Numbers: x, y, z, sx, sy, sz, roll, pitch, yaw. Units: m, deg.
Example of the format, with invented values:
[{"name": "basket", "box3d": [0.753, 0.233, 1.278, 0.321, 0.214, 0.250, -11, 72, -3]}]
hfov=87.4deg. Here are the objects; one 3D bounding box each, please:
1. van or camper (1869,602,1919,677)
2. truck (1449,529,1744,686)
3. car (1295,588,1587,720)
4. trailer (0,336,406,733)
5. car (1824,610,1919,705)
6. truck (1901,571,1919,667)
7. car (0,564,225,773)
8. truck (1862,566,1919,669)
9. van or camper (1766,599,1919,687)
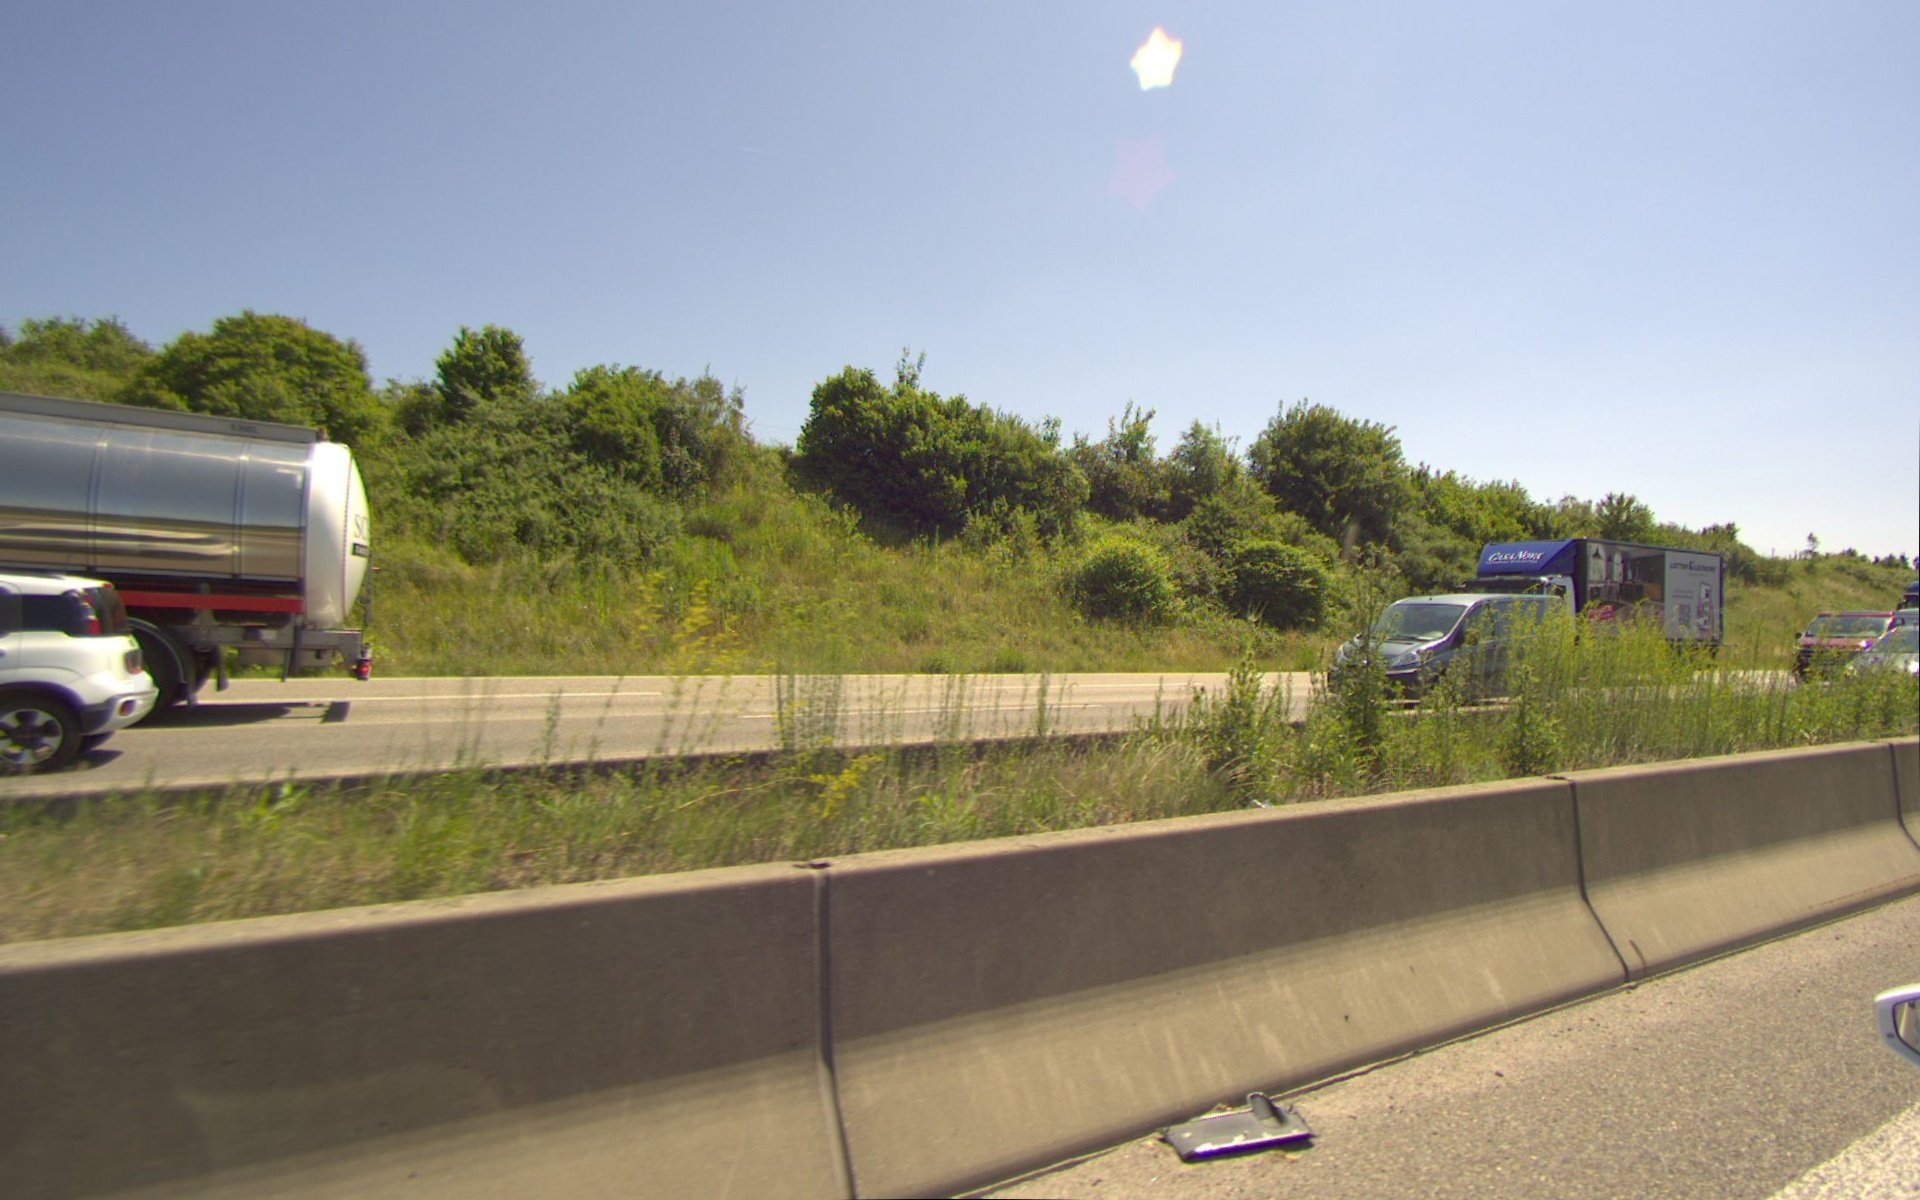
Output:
[{"name": "van or camper", "box3d": [29.749, 1.231, 30.458, 4.663, 2.181, 1.984, 2, -2, -31]}, {"name": "truck", "box3d": [17.557, 0.345, 27.399, 9.821, 3.723, 2.533, 2, -1, -30]}, {"name": "car", "box3d": [8.279, 0.893, 17.161, 5.035, 1.984, 2.014, 2, -1, -30]}, {"name": "trailer", "box3d": [-12.511, -0.744, 10.027, 12.128, 4.003, 2.667, 2, 1, -30]}, {"name": "car", "box3d": [18.215, 1.064, 18.717, 4.797, 1.604, 1.746, 2, -1, -30]}, {"name": "truck", "box3d": [47.431, 0.961, 45.520, 12.431, 4.148, 3.561, 1, 0, -30]}, {"name": "car", "box3d": [-8.458, 0.497, 7.862, 4.140, 1.570, 1.746, 2, -2, -30]}, {"name": "truck", "box3d": [41.209, 0.814, 41.864, 6.567, 4.090, 3.473, 2, 0, -30]}, {"name": "van or camper", "box3d": [24.380, 1.190, 27.284, 5.887, 2.181, 1.984, 2, -2, -31]}]
